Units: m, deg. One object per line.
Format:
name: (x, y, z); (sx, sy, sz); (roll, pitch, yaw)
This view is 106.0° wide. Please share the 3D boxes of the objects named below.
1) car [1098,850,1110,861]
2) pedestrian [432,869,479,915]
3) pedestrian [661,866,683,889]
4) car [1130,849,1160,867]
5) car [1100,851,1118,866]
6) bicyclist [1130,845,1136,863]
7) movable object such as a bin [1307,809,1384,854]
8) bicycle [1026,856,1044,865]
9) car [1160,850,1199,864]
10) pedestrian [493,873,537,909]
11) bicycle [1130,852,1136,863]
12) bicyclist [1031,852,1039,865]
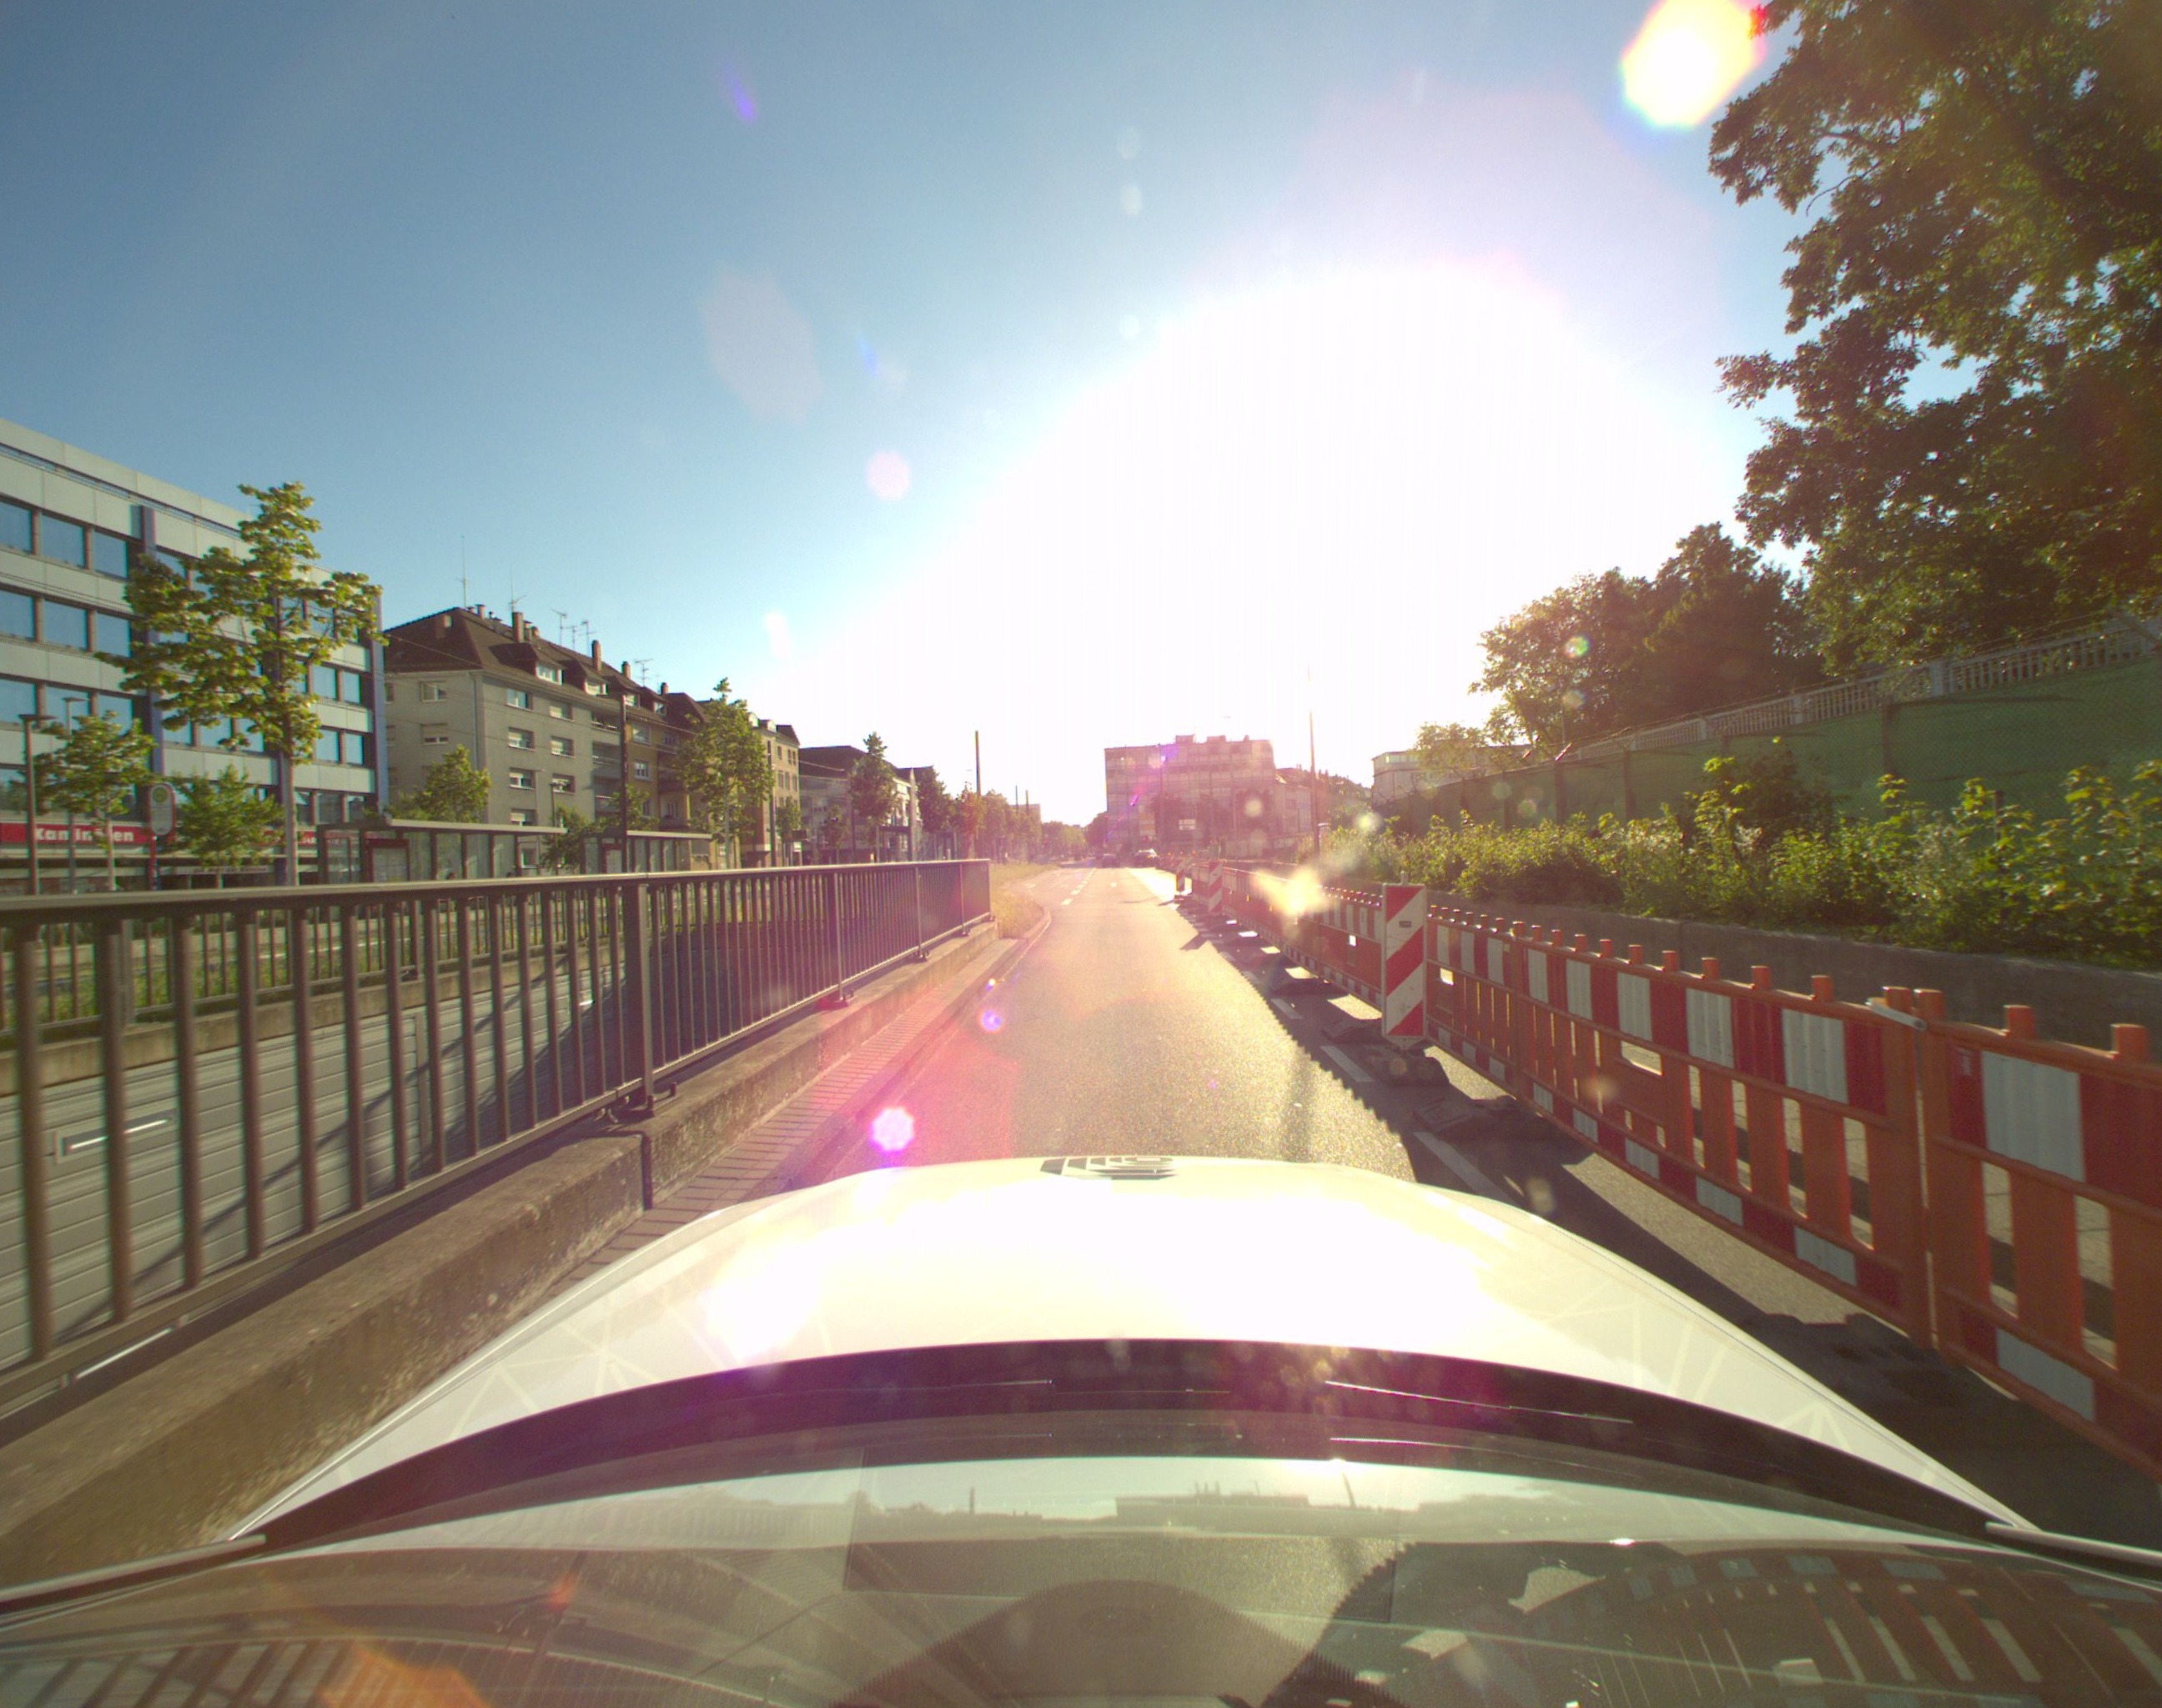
car: (5.303, 0.265, 190.317); (2.477, 2.392, 5.935); (-4, 0, 1)
pedestrian: (-19.937, 1.207, 25.968); (0.835, 1.410, 0.804); (-3, 0, 1)
pedestrian: (-19.362, 1.121, 38.559); (0.625, 1.047, 0.794); (-3, 0, 1)
car: (6.665, 0.363, 84.180); (1.976, 1.693, 4.022); (-1, 1, 22)
car: (2.964, 0.450, 85.969); (1.737, 1.426, 4.000); (-2, 0, 1)
bicyclist: (5.946, 0.013, 92.500); (0.641, 2.013, 1.068); (-1, 2, 2)
movable object such as a bin: (23.382, -1.944, 71.979); (6.004, 3.557, 2.879); (-2, 0, 26)
bicycle: (-5.954, 0.874, 106.068); (2.216, 1.026, 0.683); (-2, 0, 4)
car: (12.775, 0.414, 105.536); (4.784, 1.750, 2.007); (-1, 0, 13)
pedestrian: (-19.822, 1.279, 28.539); (0.930, 1.197, 0.764); (-3, 0, 1)
bicycle: (5.920, 0.416, 92.420); (0.642, 1.223, 2.050); (-1, 2, 2)
bicyclist: (-5.969, 0.565, 106.071); (0.954, 1.661, 0.692); (-2, 0, 4)
